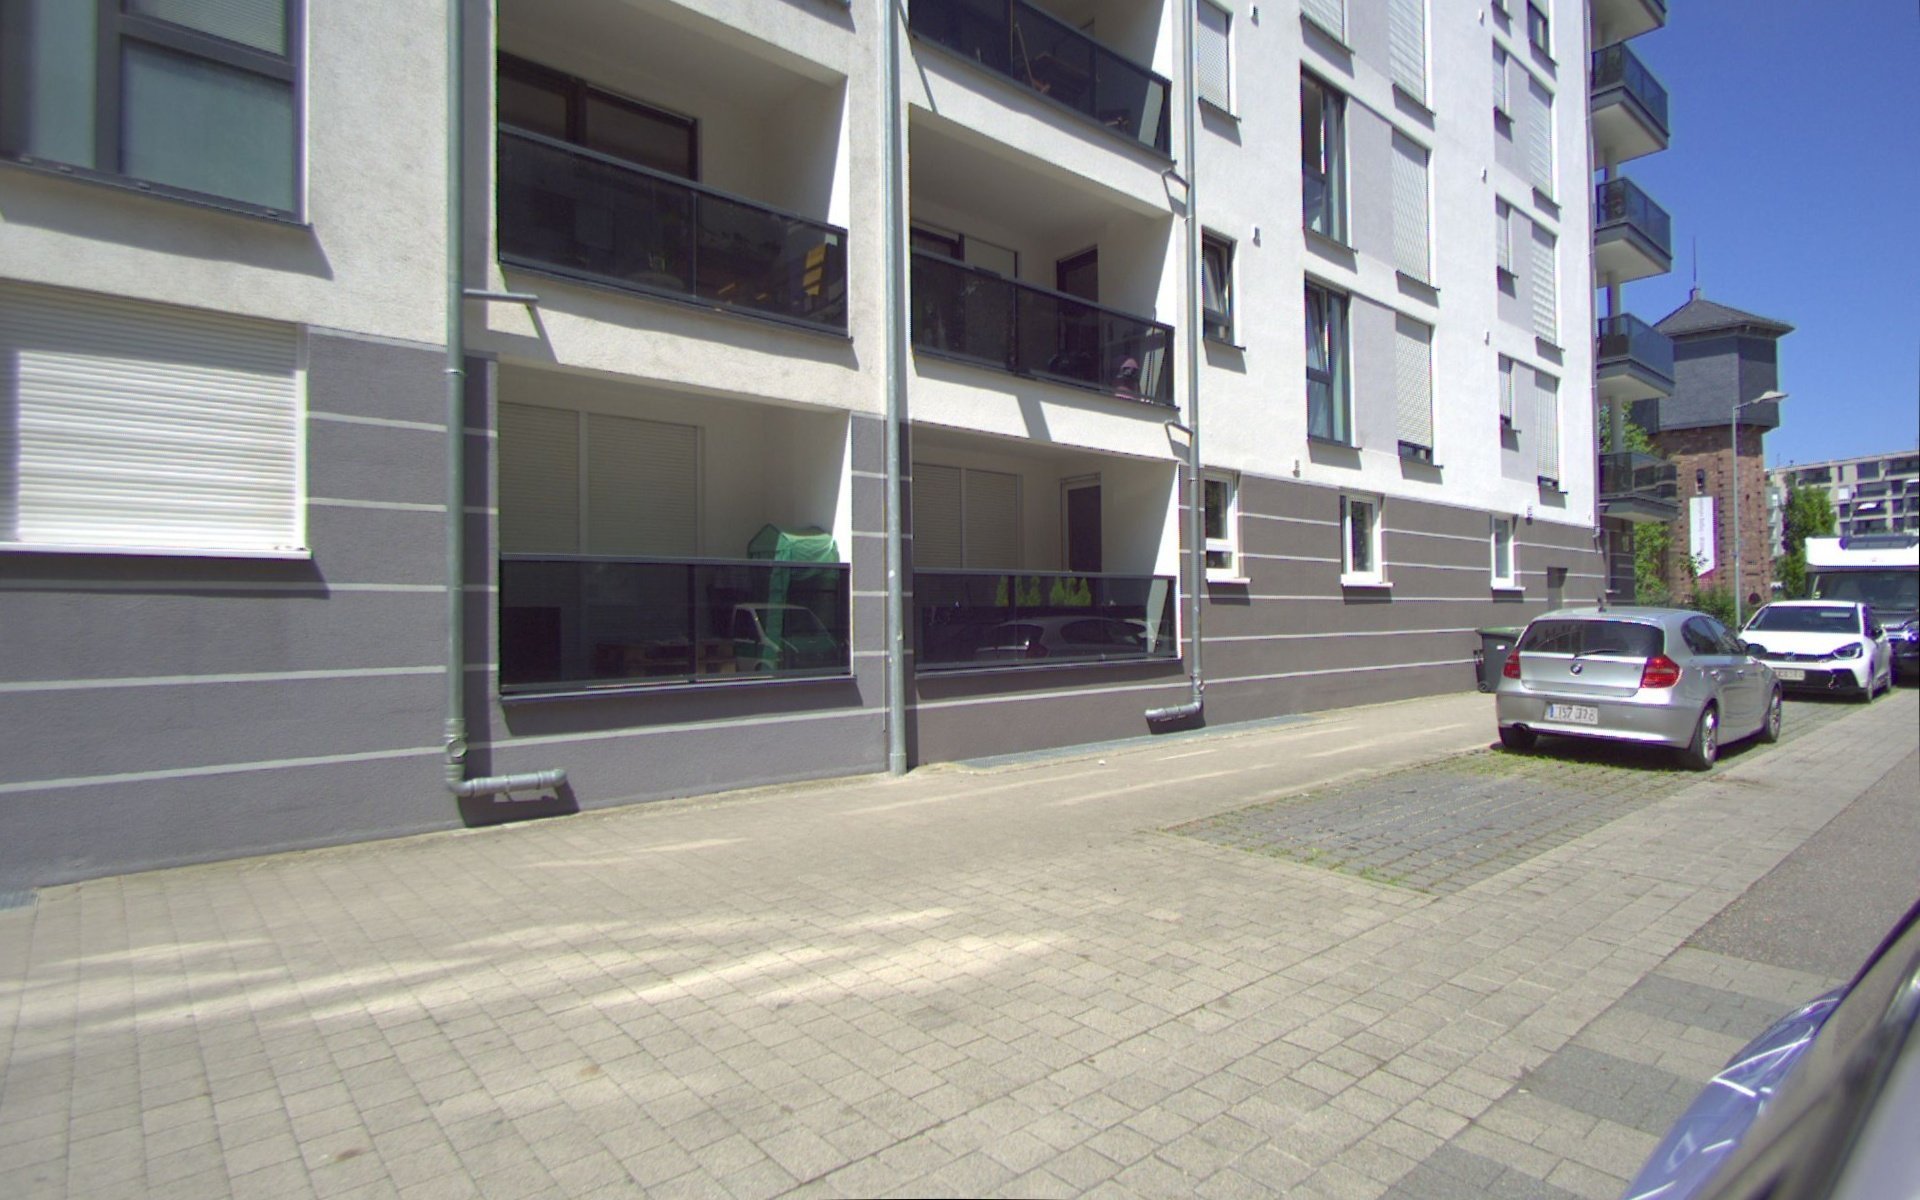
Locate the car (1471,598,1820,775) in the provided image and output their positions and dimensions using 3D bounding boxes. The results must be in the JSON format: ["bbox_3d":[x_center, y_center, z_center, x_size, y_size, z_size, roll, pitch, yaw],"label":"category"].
[{"bbox_3d":[7.150,0.718,10.379,4.348,1.434,1.849,0,-1,-40],"label":"car"}]

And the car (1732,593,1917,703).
[{"bbox_3d":[13.868,0.663,16.150,4.189,1.524,1.809,0,0,-43],"label":"car"}]

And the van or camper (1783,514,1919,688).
[{"bbox_3d":[18.659,-0.004,20.059,7.693,2.943,2.441,-1,-2,-42],"label":"van or camper"}]
